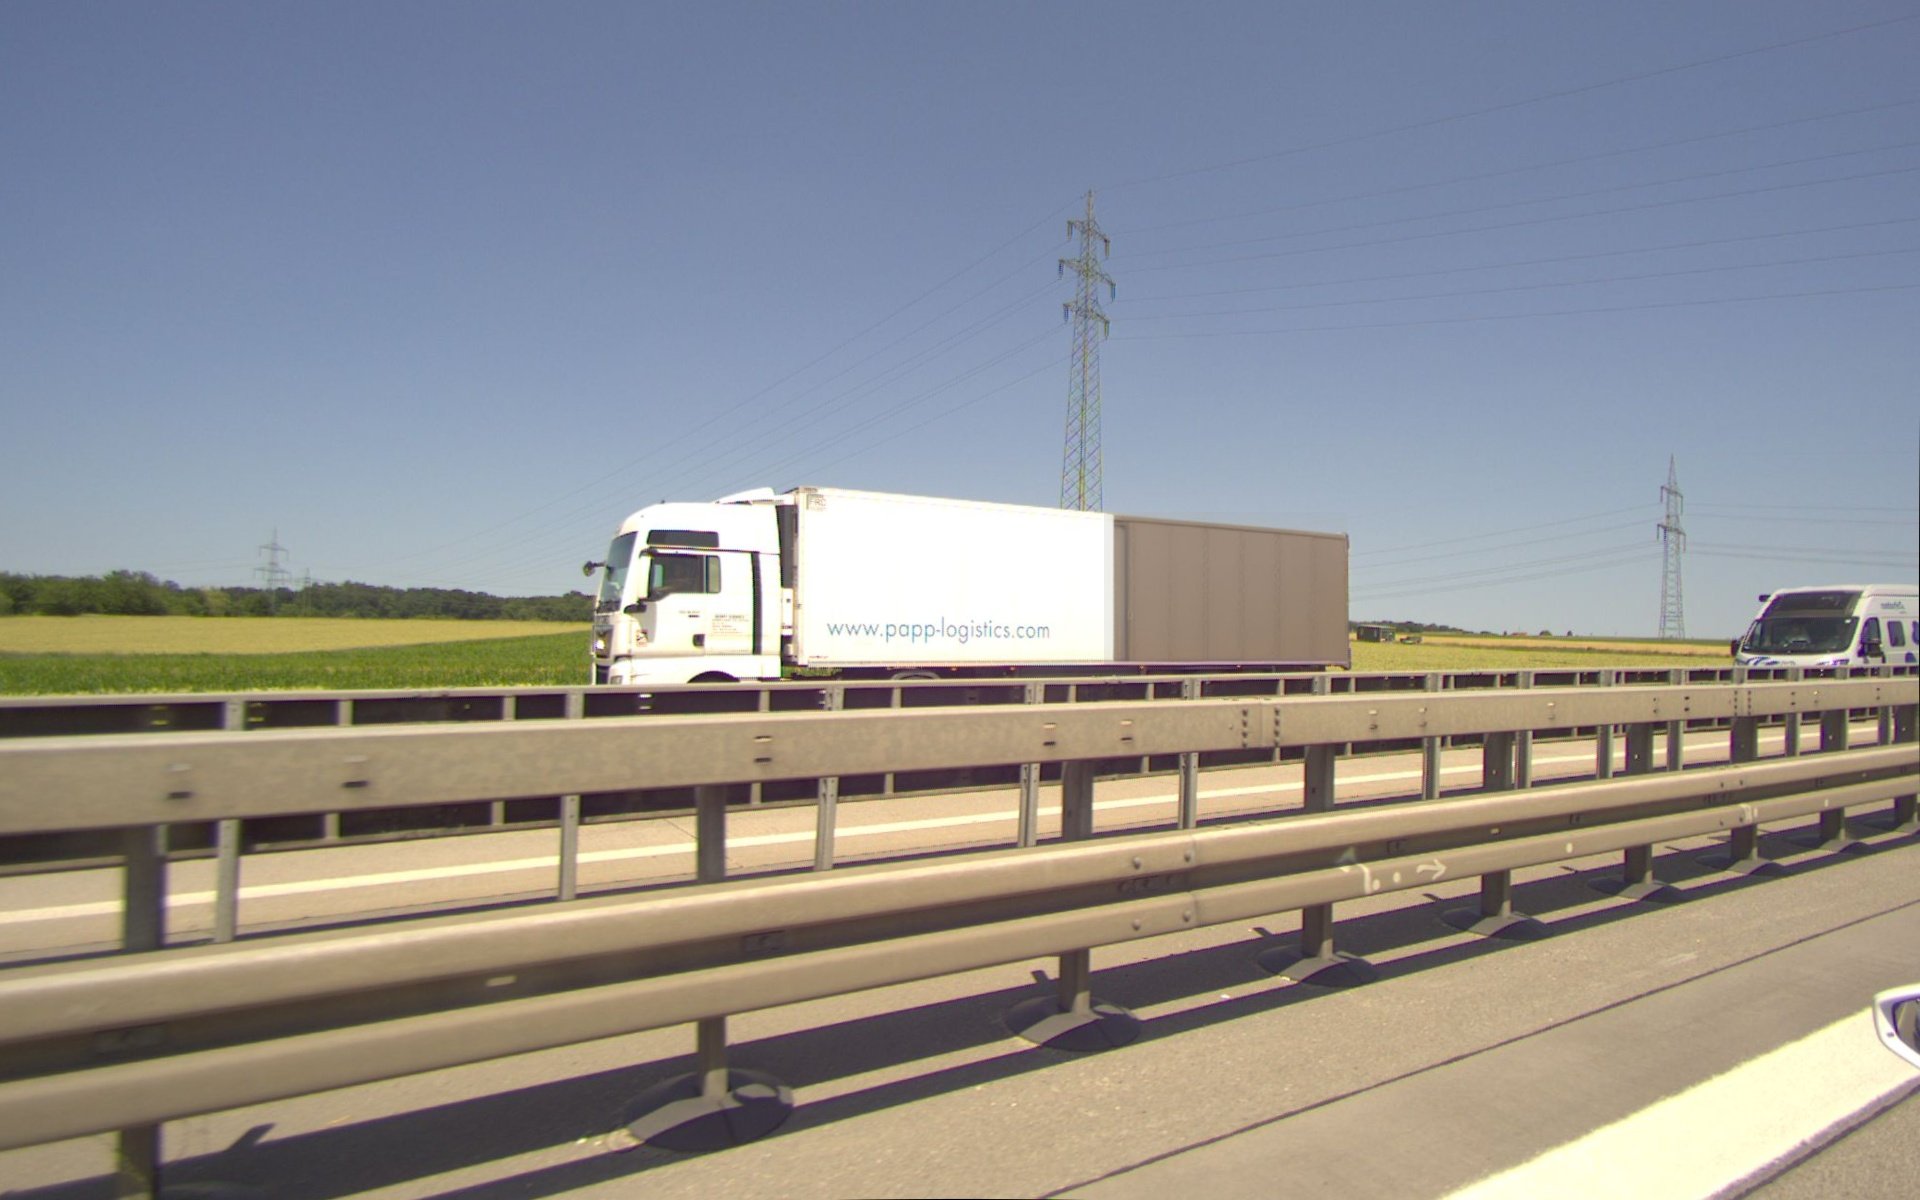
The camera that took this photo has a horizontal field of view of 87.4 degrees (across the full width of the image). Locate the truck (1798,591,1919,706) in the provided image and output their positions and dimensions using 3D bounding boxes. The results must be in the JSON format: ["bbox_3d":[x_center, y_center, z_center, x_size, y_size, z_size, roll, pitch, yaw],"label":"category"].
[{"bbox_3d":[27.704,1.410,29.585,7.341,3.049,2.238,2,0,-30],"label":"truck"}]

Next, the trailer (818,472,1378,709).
[{"bbox_3d":[3.509,0.045,21.416,12.746,3.970,2.943,2,0,-31],"label":"trailer"}]

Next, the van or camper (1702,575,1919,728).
[{"bbox_3d":[18.478,1.054,20.966,7.210,2.771,2.148,2,-3,-31],"label":"van or camper"}]

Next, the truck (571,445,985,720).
[{"bbox_3d":[-3.097,-0.157,17.458,6.401,3.982,2.925,2,0,-30],"label":"truck"}]

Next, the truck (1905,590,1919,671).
[{"bbox_3d":[47.540,1.533,47.417,5.988,3.739,2.704,2,0,-31],"label":"truck"}]
